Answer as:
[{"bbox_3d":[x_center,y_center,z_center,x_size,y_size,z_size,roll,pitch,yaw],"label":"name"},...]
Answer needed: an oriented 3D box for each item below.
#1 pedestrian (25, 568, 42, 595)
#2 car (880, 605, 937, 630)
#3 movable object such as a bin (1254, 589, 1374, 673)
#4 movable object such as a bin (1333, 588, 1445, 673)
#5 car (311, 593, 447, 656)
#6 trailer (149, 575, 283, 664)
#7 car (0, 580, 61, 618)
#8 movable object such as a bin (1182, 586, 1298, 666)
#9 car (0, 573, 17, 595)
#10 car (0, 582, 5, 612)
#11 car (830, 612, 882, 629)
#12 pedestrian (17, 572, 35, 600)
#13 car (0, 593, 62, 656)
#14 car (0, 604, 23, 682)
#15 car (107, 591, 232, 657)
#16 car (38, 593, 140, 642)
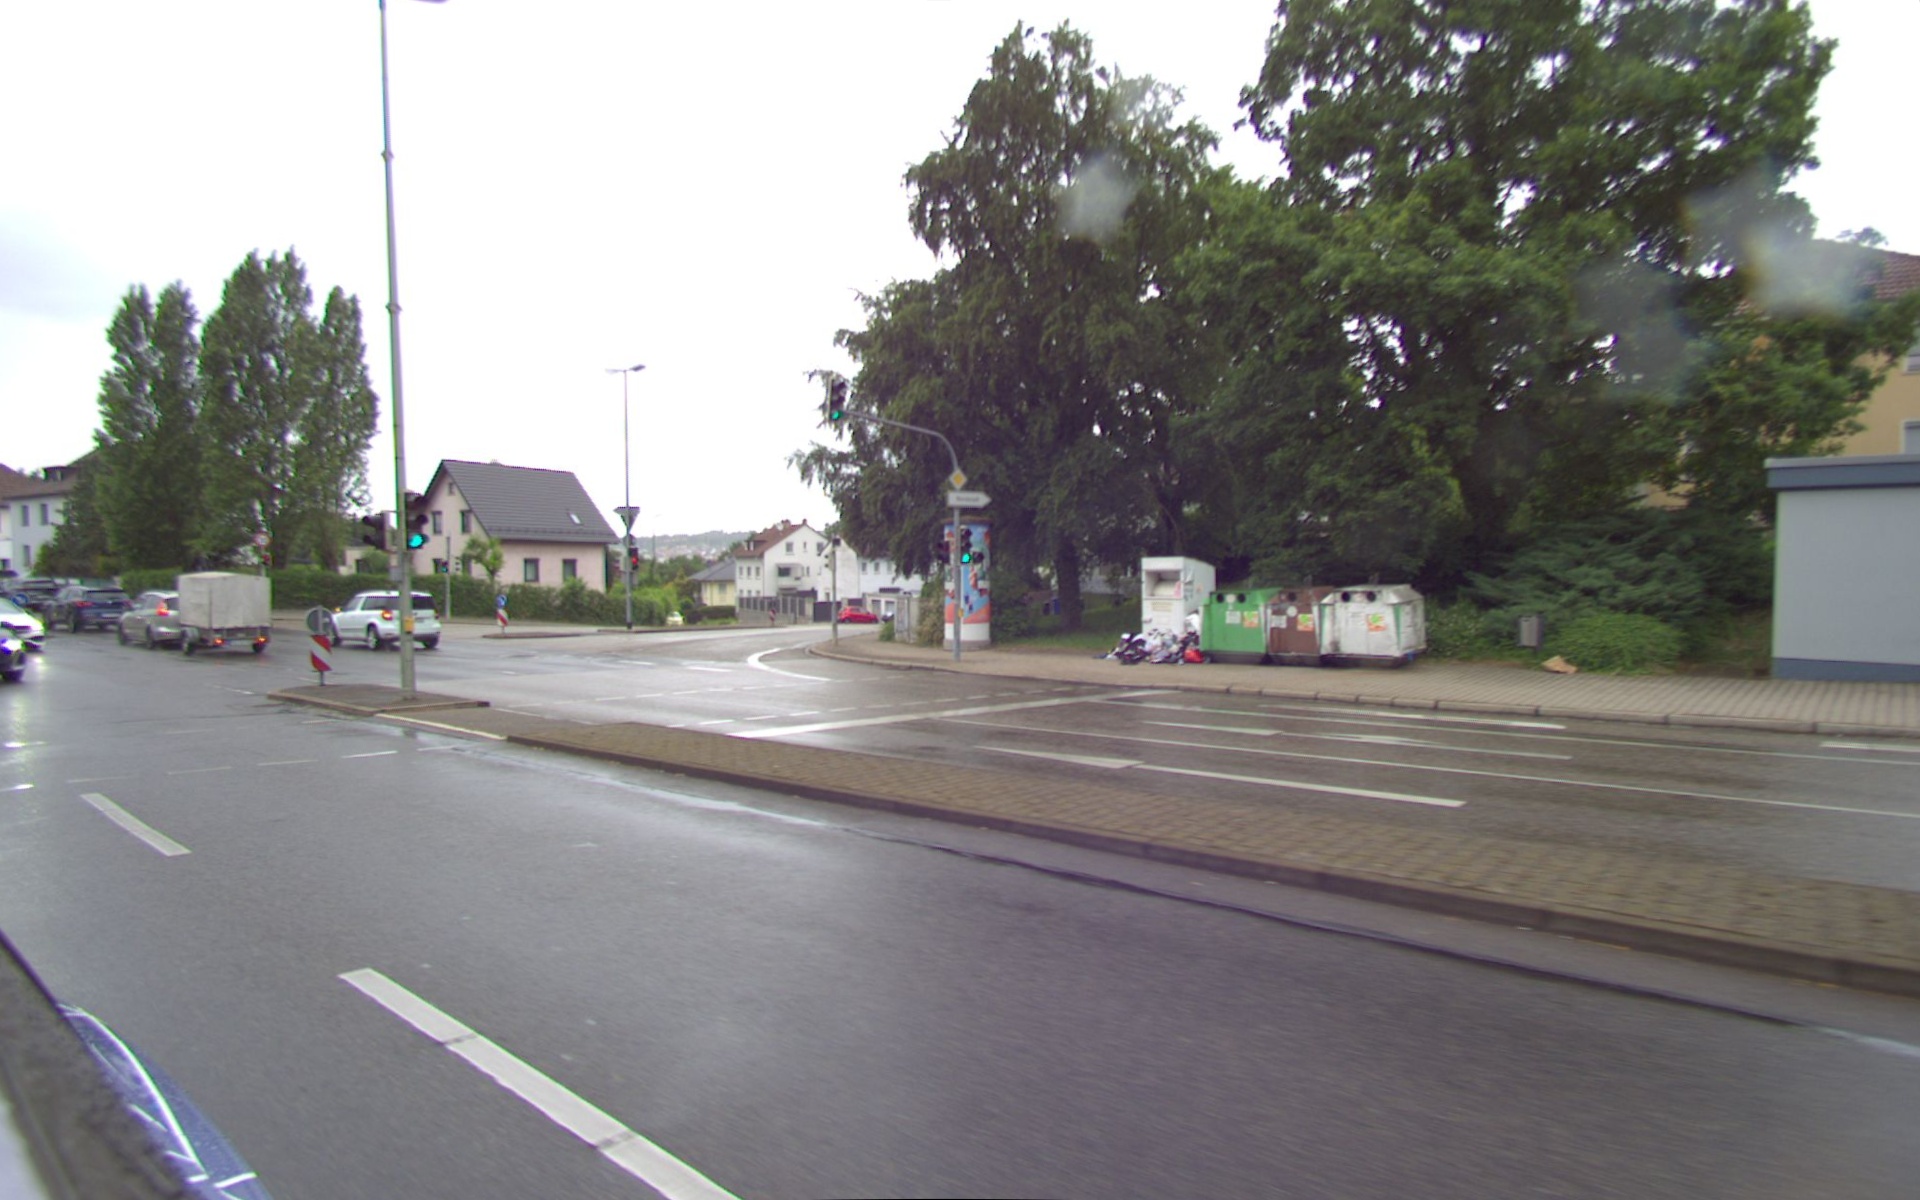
[{"bbox_3d":[-62.943,-1.277,68.757,0.643,1.800,0.649,-3,3,-35],"label":"pedestrian"},{"bbox_3d":[-3.987,1.375,78.236,4.022,1.863,1.945,1,0,-22],"label":"car"},{"bbox_3d":[7.101,0.586,20.264,1.581,1.580,2.035,-1,-1,43],"label":"movable object such as a bin"},{"bbox_3d":[8.160,0.552,19.205,1.344,1.526,2.035,-1,-1,43],"label":"movable object such as a bin"},{"bbox_3d":[-17.096,0.665,29.717,4.458,1.669,1.807,1,0,36],"label":"car"},{"bbox_3d":[-19.819,0.463,26.919,4.030,2.195,1.878,1,0,38],"label":"trailer"},{"bbox_3d":[-46.051,-0.070,49.560,4.583,1.682,1.791,2,1,32],"label":"car"},{"bbox_3d":[5.915,0.530,21.337,1.581,1.580,2.035,-1,-1,43],"label":"movable object such as a bin"},{"bbox_3d":[-67.156,-1.023,68.855,1.878,1.430,3.959,1,4,31],"label":"car"},{"bbox_3d":[-51.704,-0.207,52.745,4.129,1.580,1.791,2,1,32],"label":"car"},{"bbox_3d":[-8.811,1.747,85.745,4.022,1.298,1.914,1,0,-25],"label":"car"},{"bbox_3d":[-61.657,-0.935,66.817,0.538,1.801,0.663,2,5,35],"label":"pedestrian"},{"bbox_3d":[-26.477,0.618,27.283,4.629,1.540,1.897,2,1,28],"label":"car"},{"bbox_3d":[-19.807,0.810,19.117,4.840,1.408,1.891,-1,0,32],"label":"car"},{"bbox_3d":[-23.136,0.646,29.575,4.474,1.695,1.881,2,1,38],"label":"car"},{"bbox_3d":[-31.047,0.587,36.030,4.376,1.563,1.824,1,0,36],"label":"car"}]
